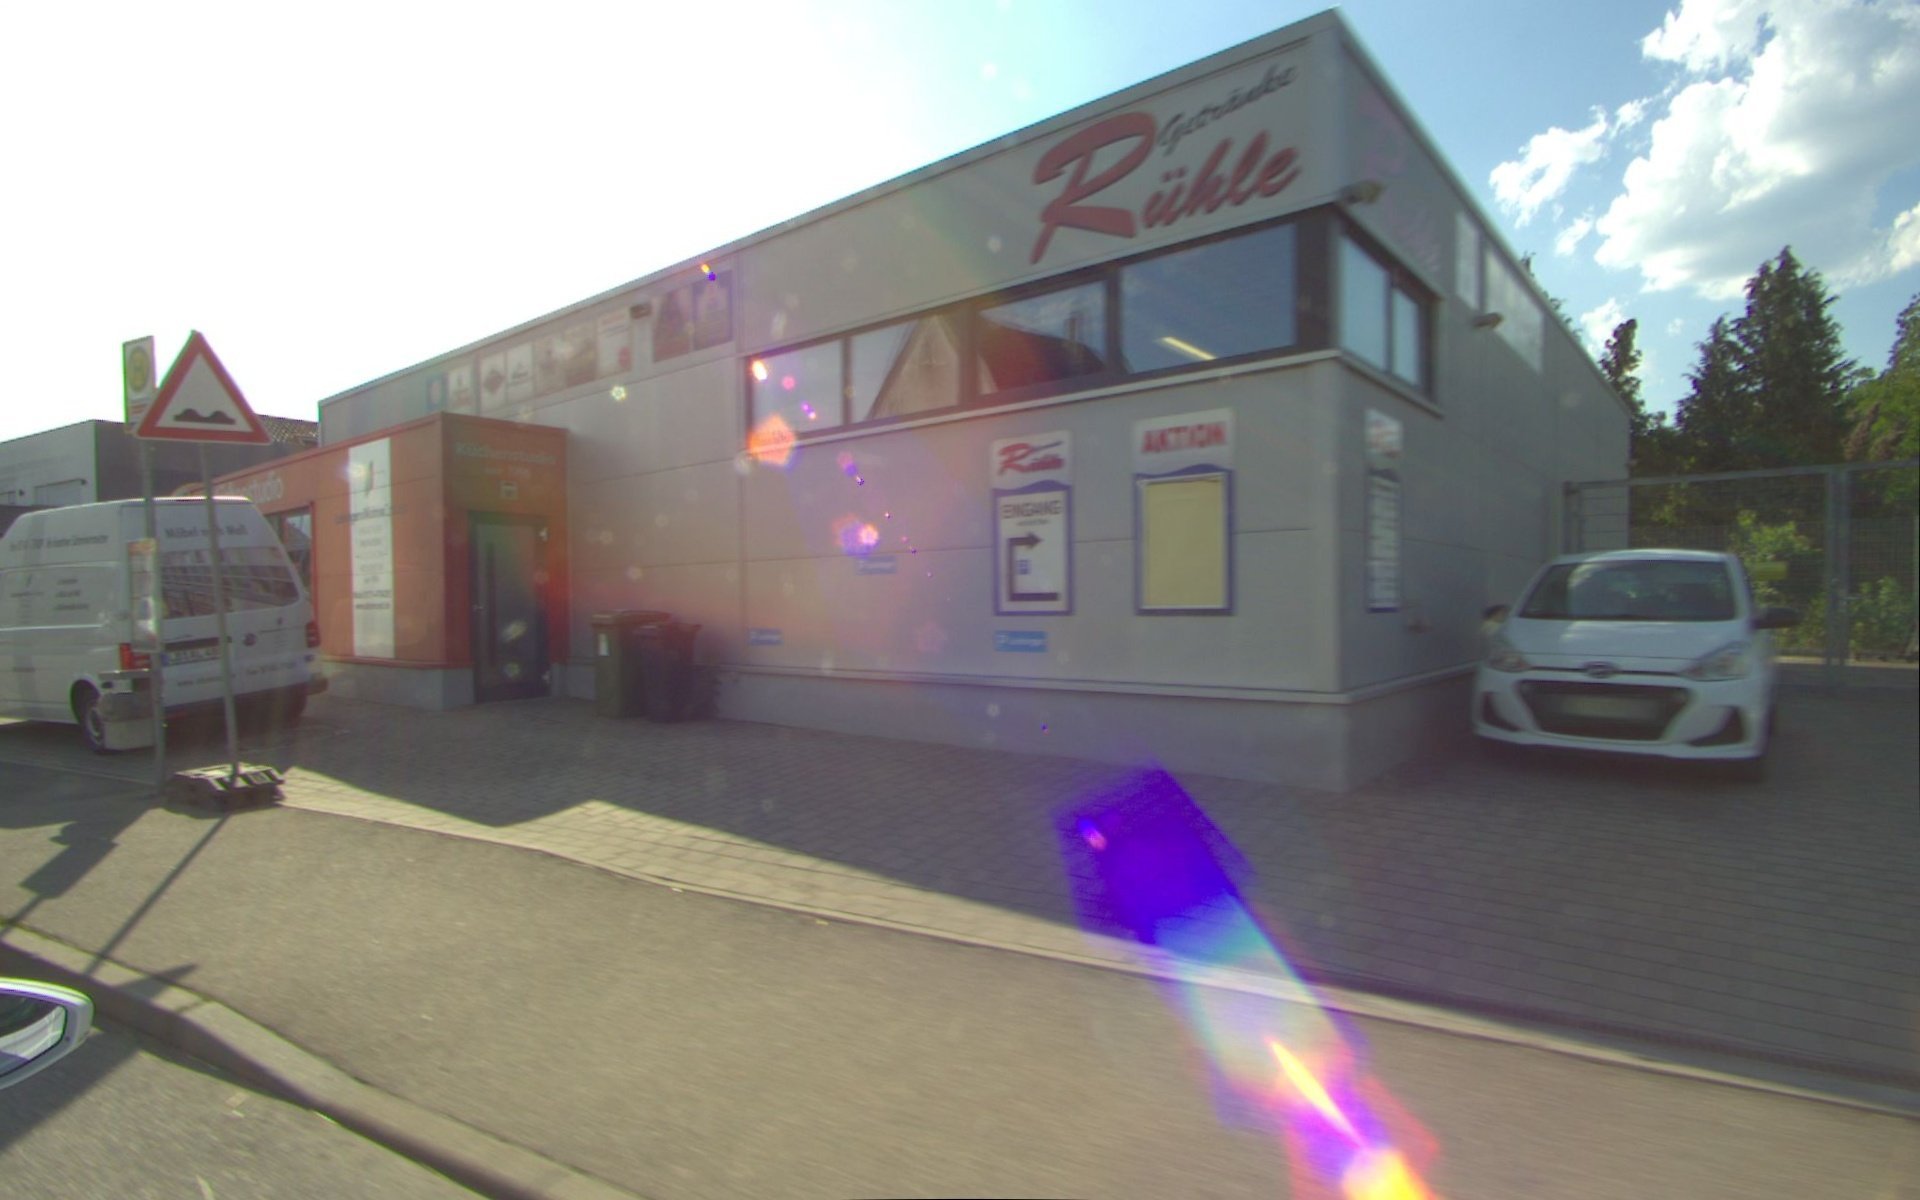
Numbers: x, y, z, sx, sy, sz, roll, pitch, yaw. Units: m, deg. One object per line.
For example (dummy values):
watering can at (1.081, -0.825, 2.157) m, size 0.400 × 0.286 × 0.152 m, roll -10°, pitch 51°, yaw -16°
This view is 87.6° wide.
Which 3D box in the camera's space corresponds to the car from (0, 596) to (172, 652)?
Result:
car at (-25.591, 0.638, 29.110) m, size 1.689 × 1.488 × 3.901 m, roll 2°, pitch 1°, yaw 28°

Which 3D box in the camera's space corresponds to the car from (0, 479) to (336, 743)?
car at (-9.386, 0.113, 11.138) m, size 5.098 × 2.407 × 1.834 m, roll 0°, pitch 1°, yaw 28°

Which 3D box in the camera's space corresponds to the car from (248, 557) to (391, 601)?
car at (-22.299, -0.704, 35.016) m, size 1.689 × 1.427 × 3.901 m, roll 2°, pitch 1°, yaw 28°

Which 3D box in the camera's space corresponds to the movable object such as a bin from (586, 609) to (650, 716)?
movable object such as a bin at (-3.482, 0.622, 10.202) m, size 0.484 × 1.056 × 0.427 m, roll 0°, pitch 1°, yaw 39°

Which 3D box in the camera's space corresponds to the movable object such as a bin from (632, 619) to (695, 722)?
movable object such as a bin at (-2.909, 0.678, 9.836) m, size 0.425 × 0.979 × 0.427 m, roll 0°, pitch 1°, yaw 39°

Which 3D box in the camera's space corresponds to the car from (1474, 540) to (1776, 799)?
car at (5.123, 0.342, 7.524) m, size 1.481 × 1.477 × 3.538 m, roll 1°, pitch 2°, yaw 40°
